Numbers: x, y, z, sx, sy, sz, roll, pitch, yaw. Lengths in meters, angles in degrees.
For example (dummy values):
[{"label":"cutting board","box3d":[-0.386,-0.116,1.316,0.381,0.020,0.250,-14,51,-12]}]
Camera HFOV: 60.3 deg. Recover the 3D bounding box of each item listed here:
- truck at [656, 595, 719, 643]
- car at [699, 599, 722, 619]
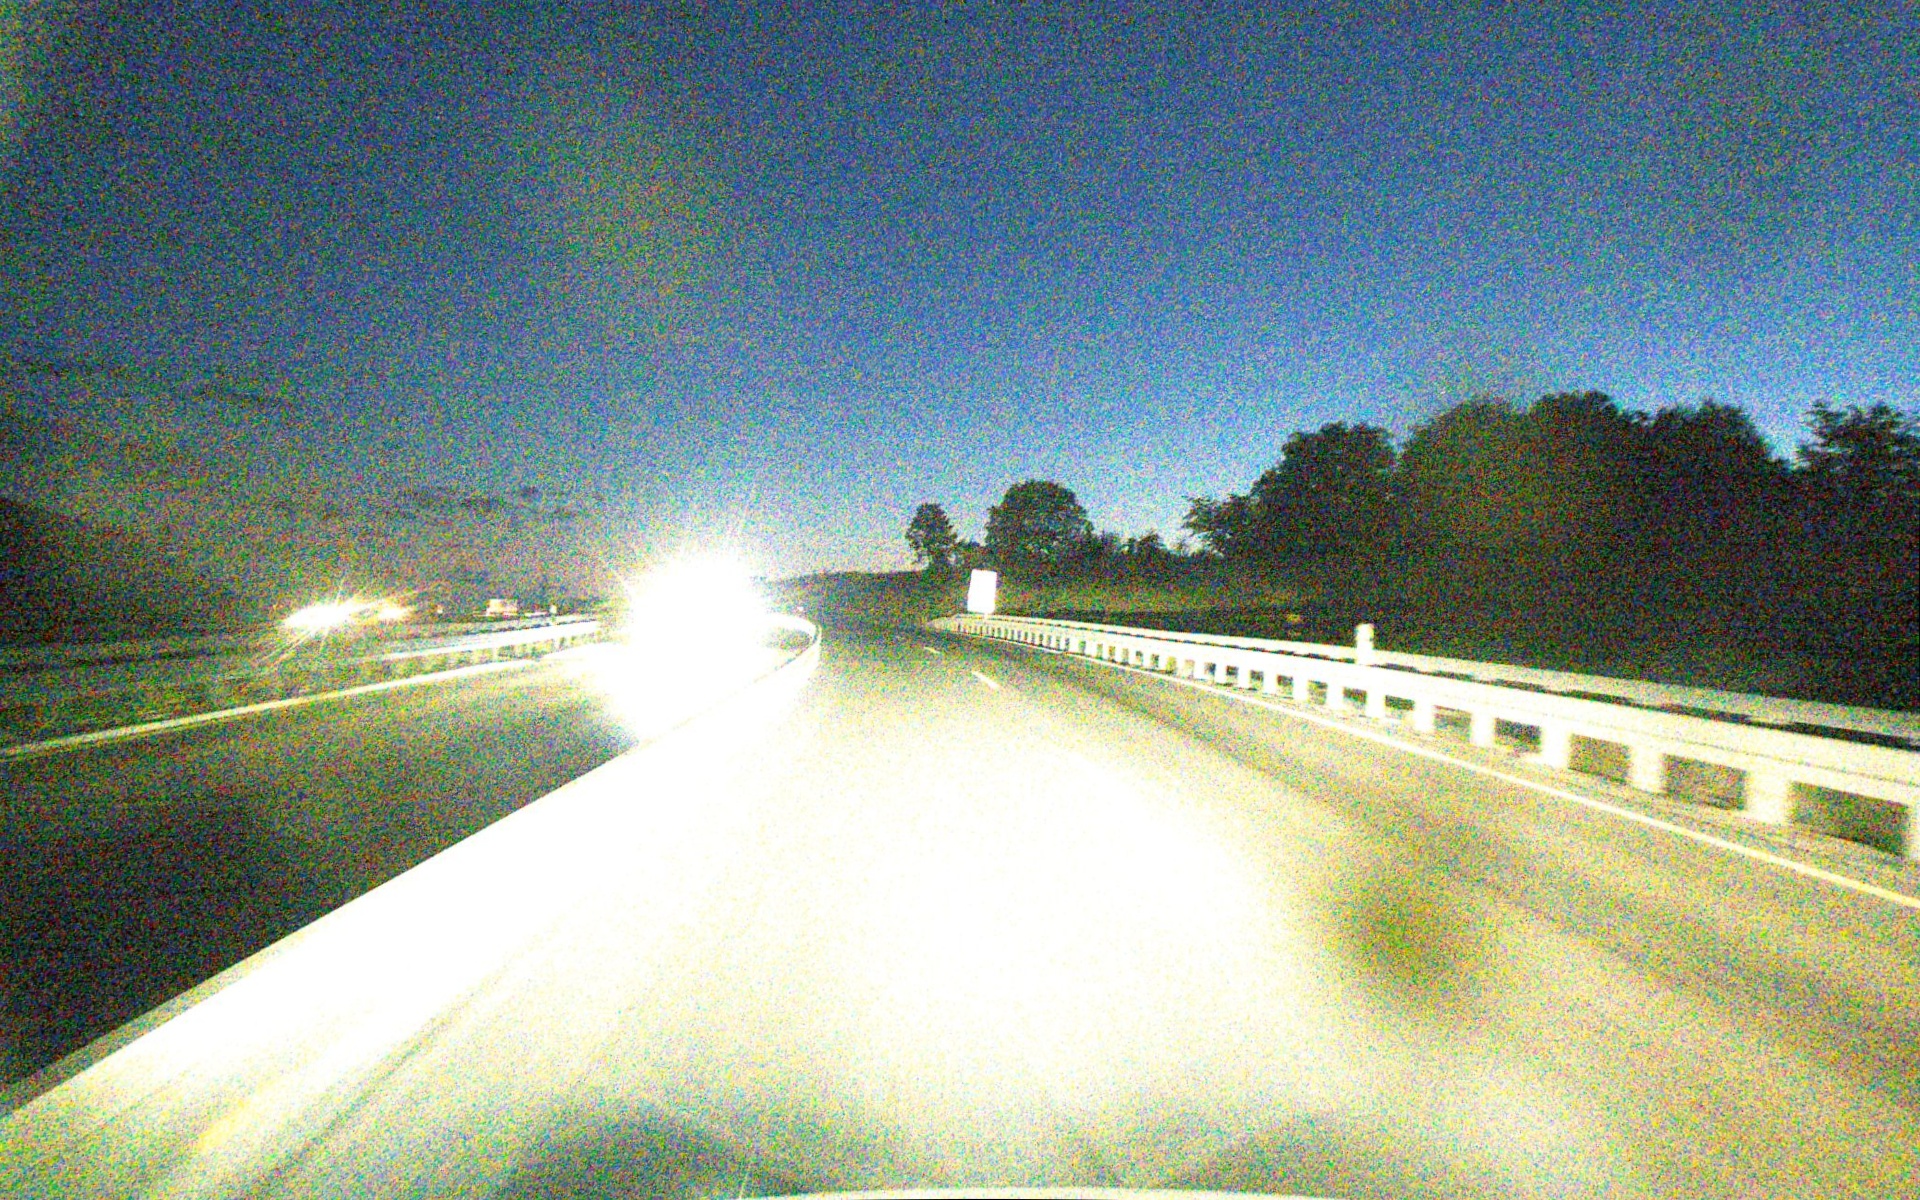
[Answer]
[{"label":"truck","box3d":[-8.969,0.631,54.735,1.650,1.495,4.149,1,-1,-4]},{"label":"car","box3d":[-19.218,0.711,127.332,1.680,1.469,4.478,-1,-1,-9]}]
